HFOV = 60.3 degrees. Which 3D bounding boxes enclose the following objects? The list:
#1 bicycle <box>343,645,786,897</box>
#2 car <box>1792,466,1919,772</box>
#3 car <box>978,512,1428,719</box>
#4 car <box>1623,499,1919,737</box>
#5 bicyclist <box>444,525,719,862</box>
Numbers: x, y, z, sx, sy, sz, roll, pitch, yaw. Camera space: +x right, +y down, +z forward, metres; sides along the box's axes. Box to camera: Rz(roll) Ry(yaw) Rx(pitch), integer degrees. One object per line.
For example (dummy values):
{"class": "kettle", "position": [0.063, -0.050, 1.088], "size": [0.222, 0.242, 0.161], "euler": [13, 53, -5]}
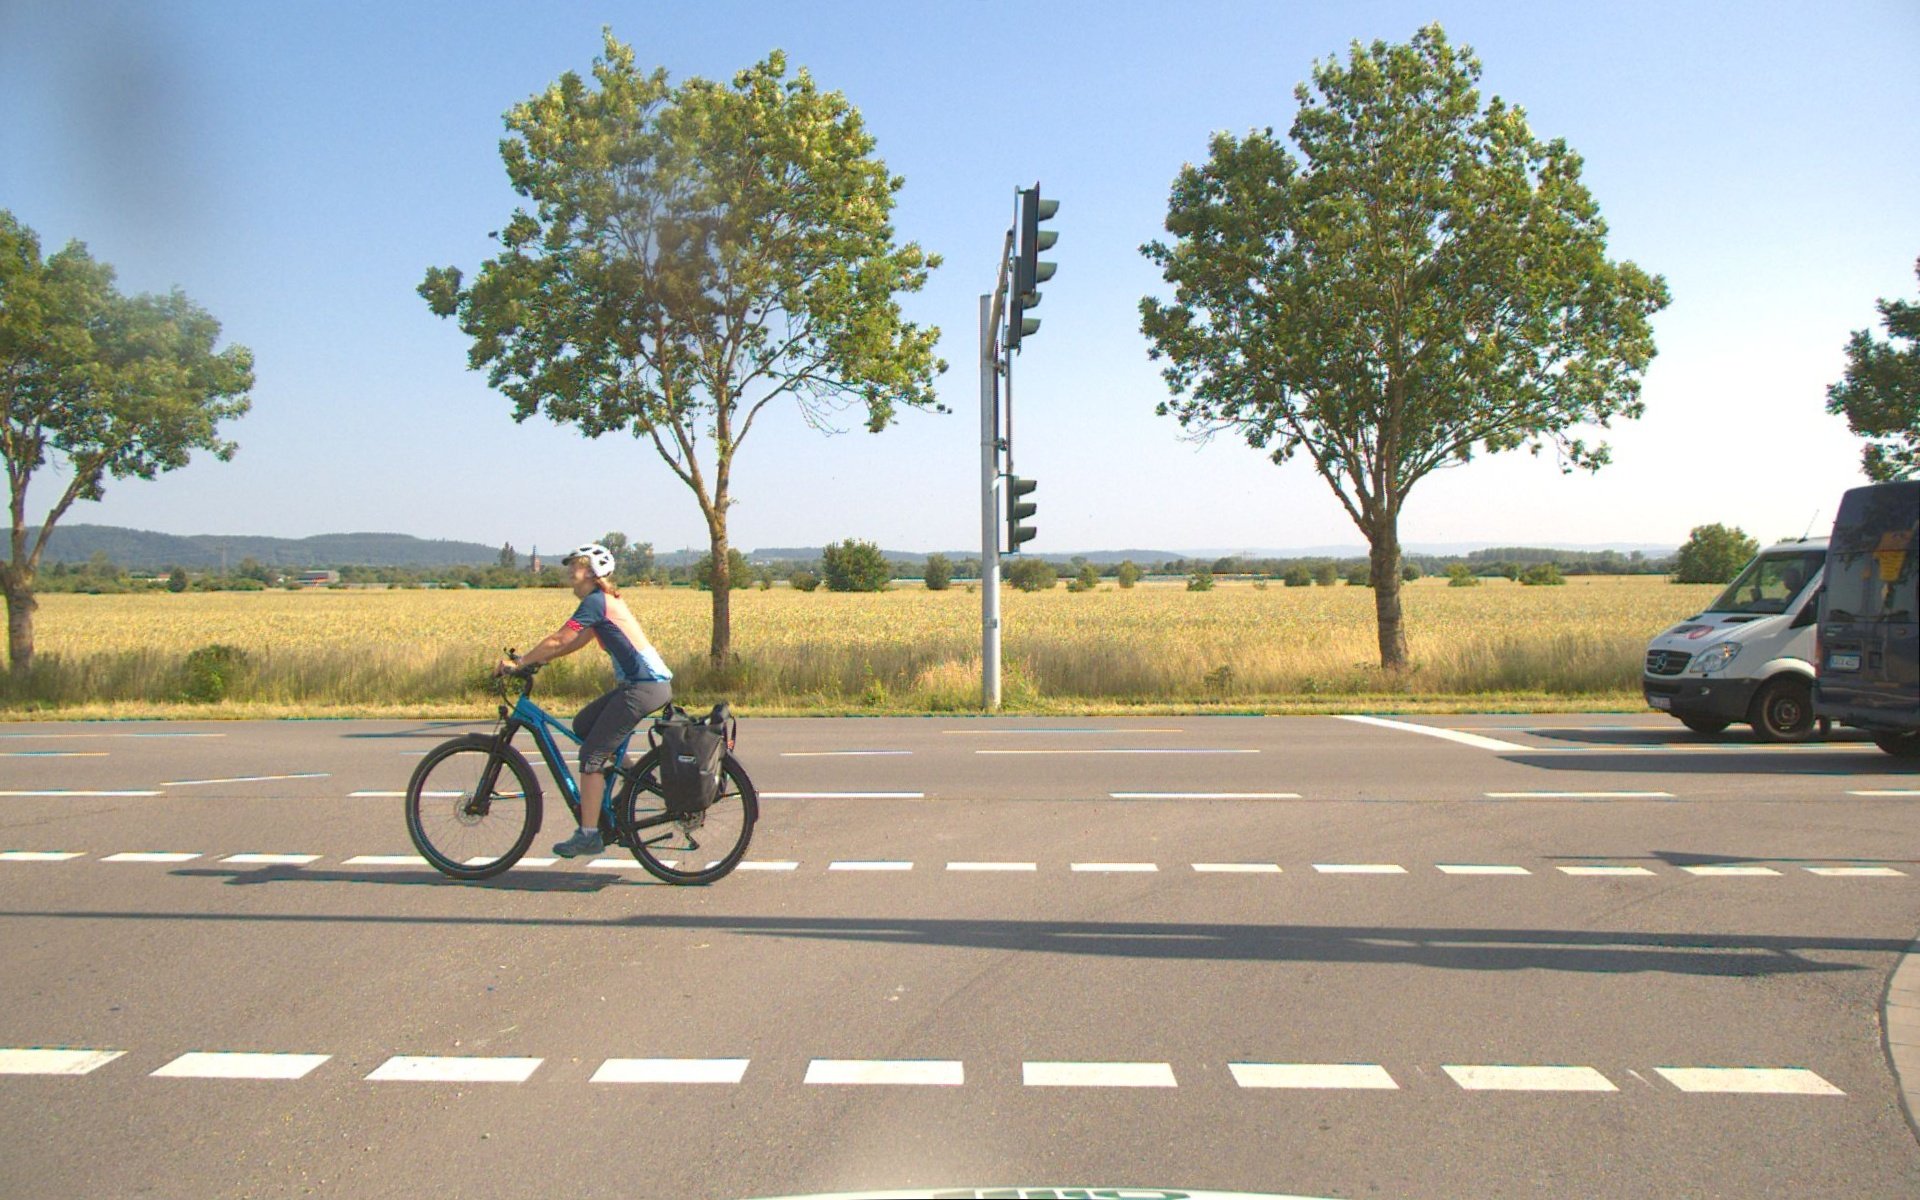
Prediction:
{"class": "bicycle", "position": [-1.972, 0.842, 8.565], "size": [2.114, 1.207, 0.889], "euler": [0, -1, -6]}
{"class": "car", "position": [11.123, 0.130, 15.569], "size": [5.617, 2.668, 2.032], "euler": [-1, 0, -3]}
{"class": "car", "position": [3.284, 0.238, 23.064], "size": [5.779, 2.622, 2.389], "euler": [1, -1, -7]}
{"class": "car", "position": [10.822, 0.200, 18.753], "size": [5.838, 2.536, 1.999], "euler": [0, -1, -3]}
{"class": "bicyclist", "position": [-1.925, 0.443, 8.641], "size": [1.254, 1.629, 1.164], "euler": [0, 1, -6]}
